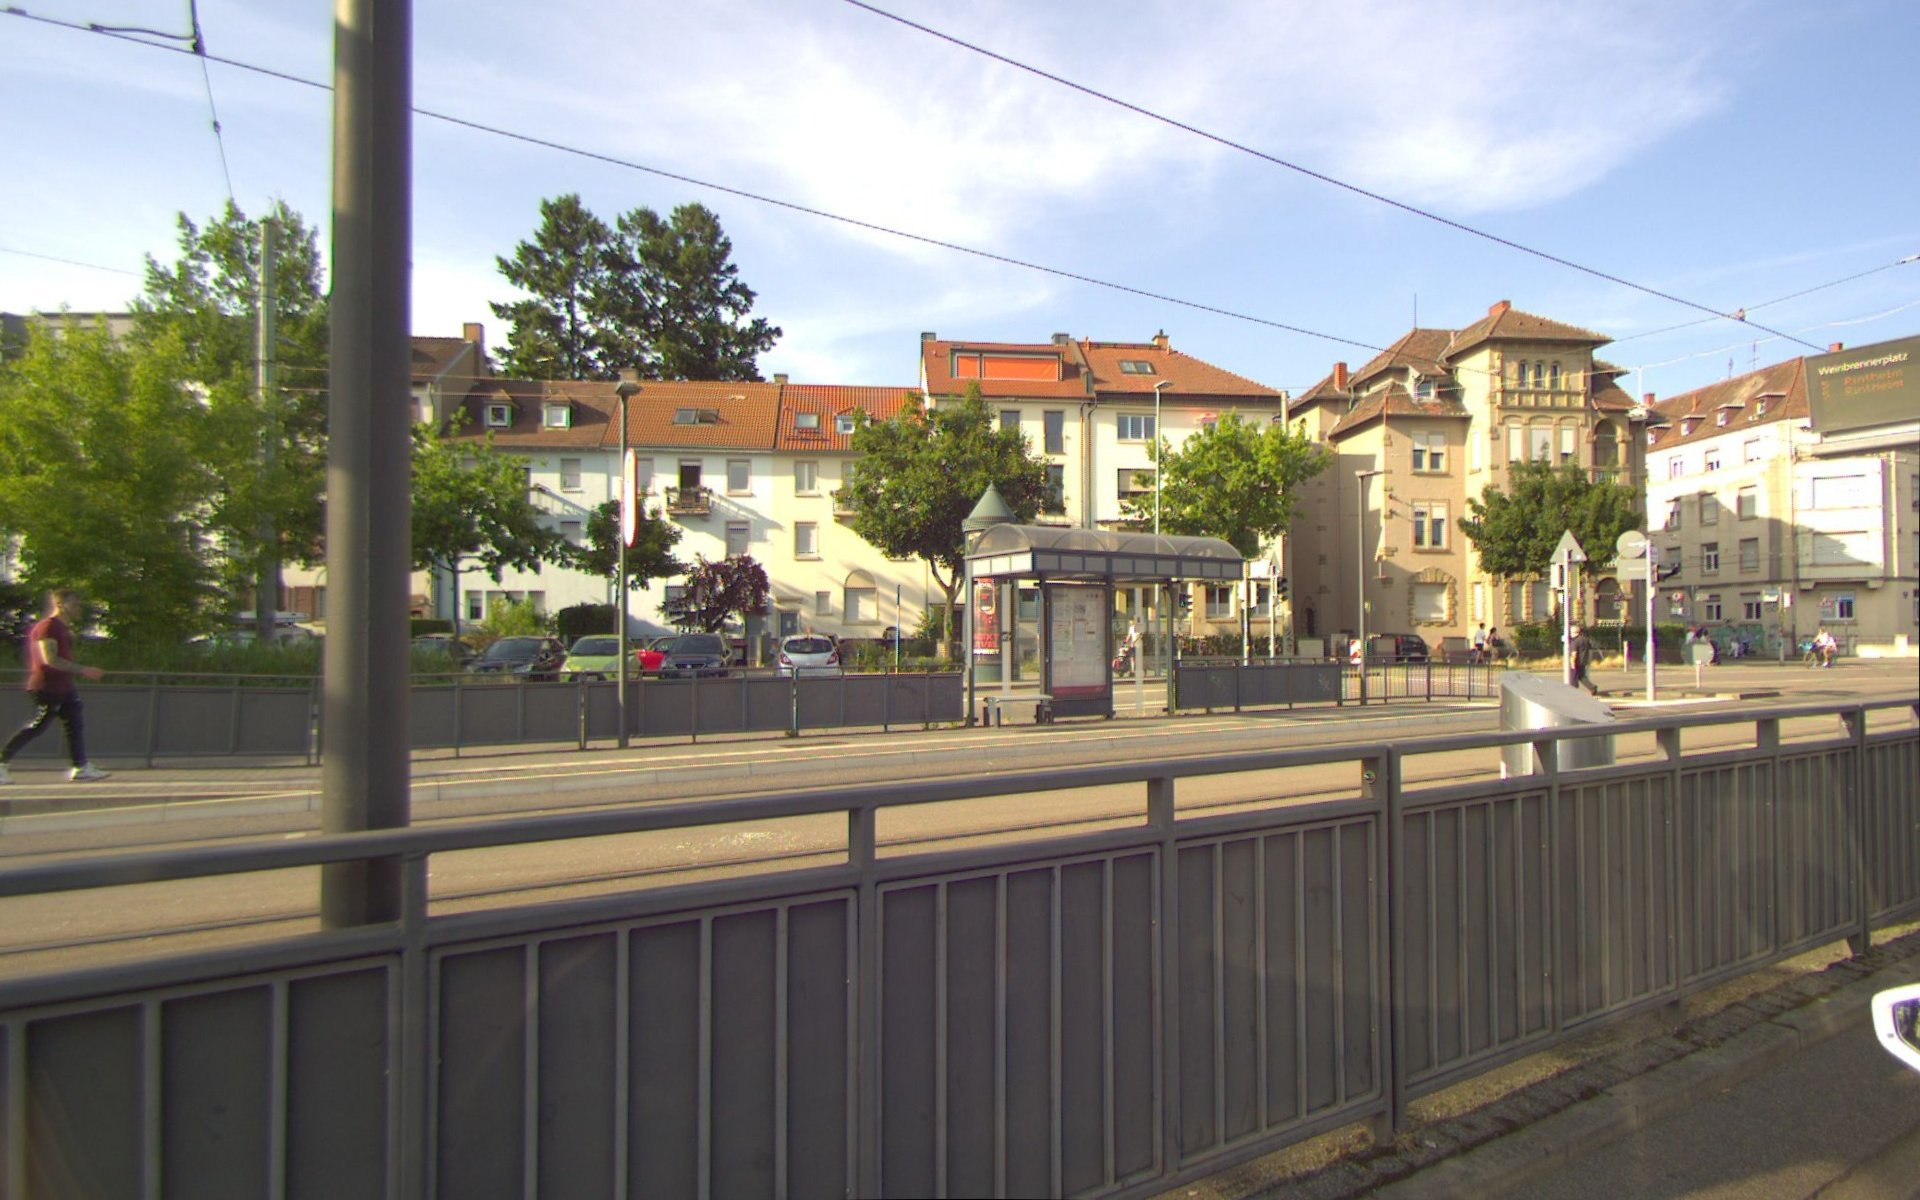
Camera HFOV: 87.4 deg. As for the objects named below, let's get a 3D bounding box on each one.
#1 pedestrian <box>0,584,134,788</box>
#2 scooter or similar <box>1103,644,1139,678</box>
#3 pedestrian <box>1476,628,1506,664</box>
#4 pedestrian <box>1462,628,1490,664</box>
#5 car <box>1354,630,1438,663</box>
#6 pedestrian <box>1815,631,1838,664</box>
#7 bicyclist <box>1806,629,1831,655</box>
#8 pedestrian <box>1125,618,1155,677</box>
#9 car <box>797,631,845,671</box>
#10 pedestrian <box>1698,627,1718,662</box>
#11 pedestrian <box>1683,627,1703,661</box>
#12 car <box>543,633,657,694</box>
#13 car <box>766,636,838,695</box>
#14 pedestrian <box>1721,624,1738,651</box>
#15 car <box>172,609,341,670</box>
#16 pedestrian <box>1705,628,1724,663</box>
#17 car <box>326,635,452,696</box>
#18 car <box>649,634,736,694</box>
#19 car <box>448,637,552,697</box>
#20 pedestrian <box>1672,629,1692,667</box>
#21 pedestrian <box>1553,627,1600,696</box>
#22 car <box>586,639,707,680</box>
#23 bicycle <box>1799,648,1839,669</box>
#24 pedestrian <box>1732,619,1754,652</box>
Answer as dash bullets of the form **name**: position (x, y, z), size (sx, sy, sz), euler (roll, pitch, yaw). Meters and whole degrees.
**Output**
- **pedestrian**: position (-7.917, 0.746, 8.837), size (0.867, 1.706, 0.551), euler (1, -5, -30)
- **scooter or similar**: position (4.838, 1.829, 30.188), size (1.014, 1.001, 0.552), euler (1, -2, -39)
- **pedestrian**: position (22.993, 1.990, 43.503), size (0.768, 1.572, 0.831), euler (0, -2, -8)
- **pedestrian**: position (22.901, 2.044, 44.569), size (0.768, 1.572, 0.831), euler (0, -2, -8)
- **car**: position (20.361, 2.159, 47.121), size (1.732, 1.327, 4.111), euler (2, 0, -7)
- **pedestrian**: position (41.666, 2.259, 48.285), size (0.702, 1.561, 0.626), euler (1, -2, -30)
- **bicyclist**: position (35.481, 1.728, 41.512), size (0.669, 1.058, 0.512), euler (0, -2, -21)
- **pedestrian**: position (5.512, 1.451, 30.768), size (0.757, 1.769, 0.542), euler (1, -2, -40)
- **car**: position (-6.067, 2.200, 44.200), size (1.962, 1.684, 3.997), euler (0, -2, -6)
- **pedestrian**: position (32.730, 1.940, 43.960), size (0.540, 1.520, 0.437), euler (0, -2, -15)
- **pedestrian**: position (32.345, 1.943, 44.332), size (0.540, 1.520, 0.437), euler (0, -2, -15)
- **car**: position (-9.652, 1.672, 27.258), size (1.813, 1.505, 3.999), euler (0, -2, -3)
- **car**: position (-4.357, 1.763, 27.817), size (1.815, 1.505, 3.995), euler (0, -2, -9)
- **pedestrian**: position (47.801, 2.327, 62.407), size (0.576, 1.682, 0.620), euler (0, -2, -14)
- **car**: position (-18.659, 1.049, 26.887), size (1.813, 1.505, 3.999), euler (0, -2, -3)
- **pedestrian**: position (33.660, 2.024, 44.797), size (0.382, 1.520, 0.535), euler (0, -2, -15)
- **car**: position (-14.413, 1.605, 25.587), size (1.968, 1.416, 3.985), euler (0, -2, -18)
- **car**: position (-7.175, 1.683, 27.279), size (1.815, 1.505, 3.995), euler (0, -2, -9)
- **car**: position (-11.892, 1.678, 26.247), size (1.968, 1.416, 3.985), euler (0, -2, -18)
- **pedestrian**: position (32.220, 2.133, 44.826), size (0.601, 1.647, 0.506), euler (1, -2, -29)
- **pedestrian**: position (15.093, 1.490, 24.617), size (0.778, 1.667, 0.757), euler (-1, -2, 16)
- **car**: position (-11.235, 2.126, 36.240), size (3.927, 1.416, 1.836), euler (0, -2, -9)
- **bicycle**: position (35.512, 2.412, 41.507), size (1.661, 0.845, 0.525), euler (1, -2, -21)
- **pedestrian**: position (48.723, 2.202, 62.502), size (0.773, 2.040, 0.775), euler (0, -2, -15)
